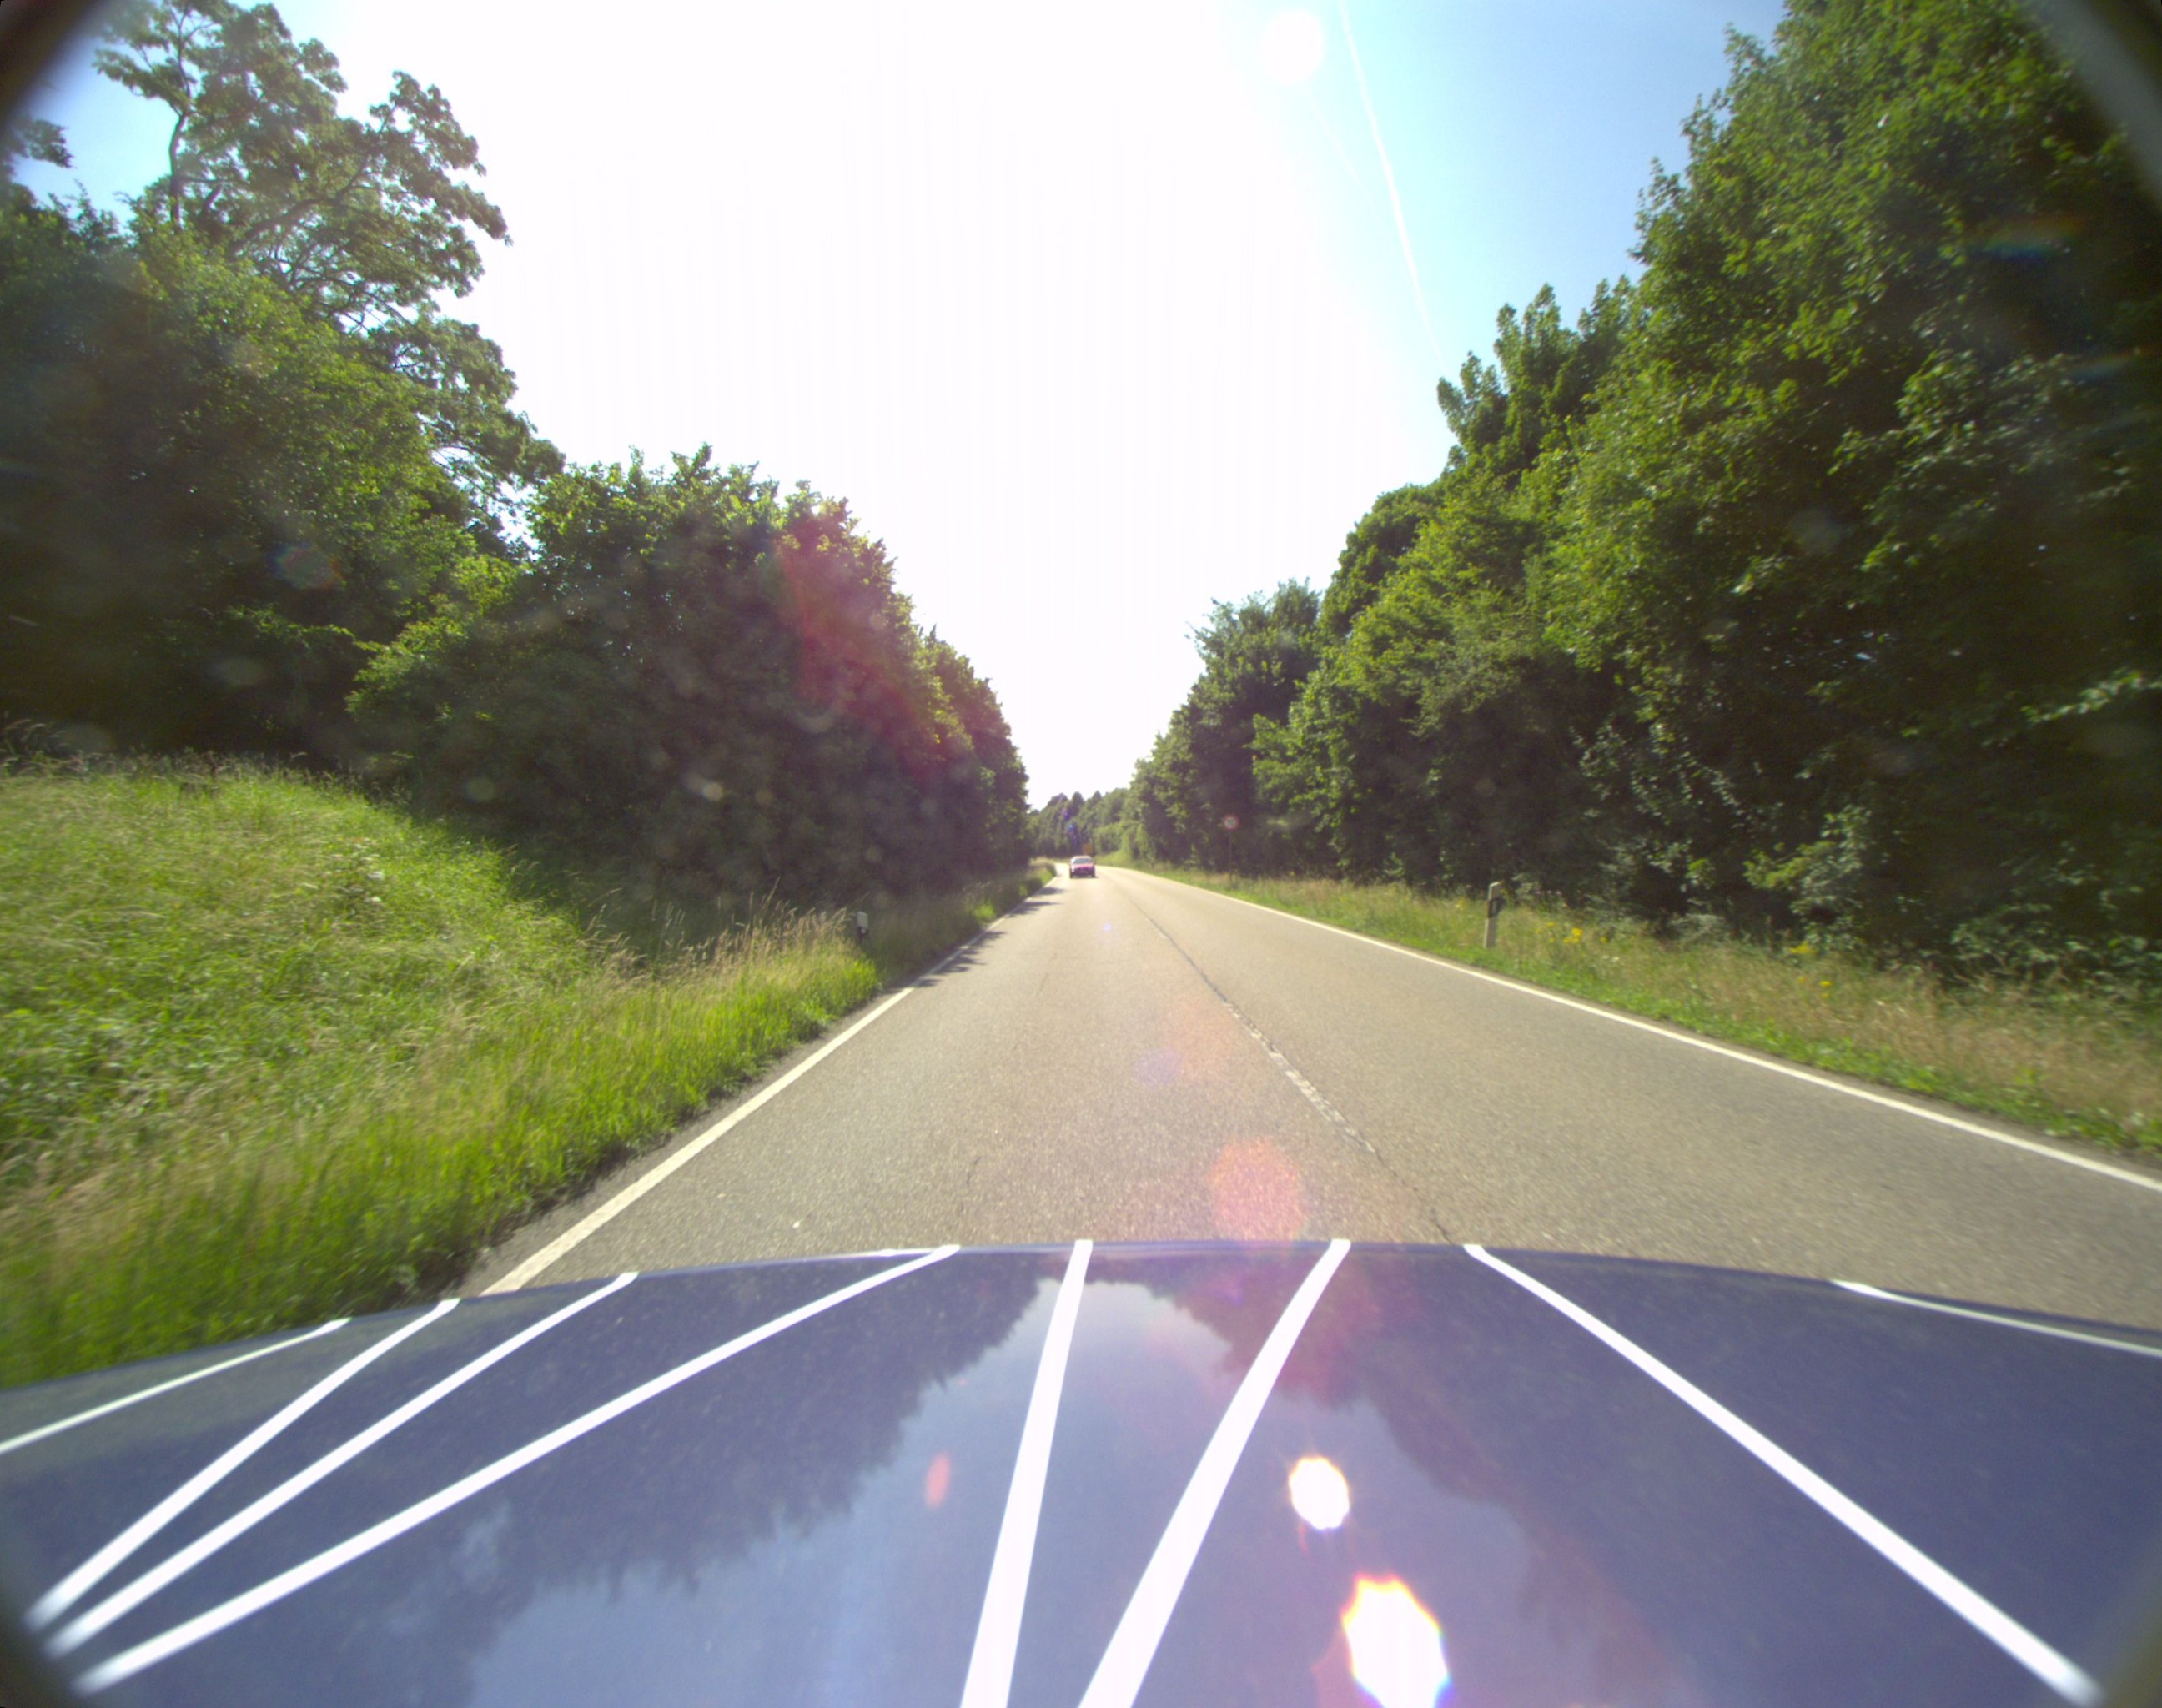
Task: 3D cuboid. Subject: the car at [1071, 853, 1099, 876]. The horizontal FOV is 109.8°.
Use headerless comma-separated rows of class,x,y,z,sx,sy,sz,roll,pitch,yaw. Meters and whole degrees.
car,0.229,0.698,53.048,1.816,1.488,4.284,-1,1,-1
